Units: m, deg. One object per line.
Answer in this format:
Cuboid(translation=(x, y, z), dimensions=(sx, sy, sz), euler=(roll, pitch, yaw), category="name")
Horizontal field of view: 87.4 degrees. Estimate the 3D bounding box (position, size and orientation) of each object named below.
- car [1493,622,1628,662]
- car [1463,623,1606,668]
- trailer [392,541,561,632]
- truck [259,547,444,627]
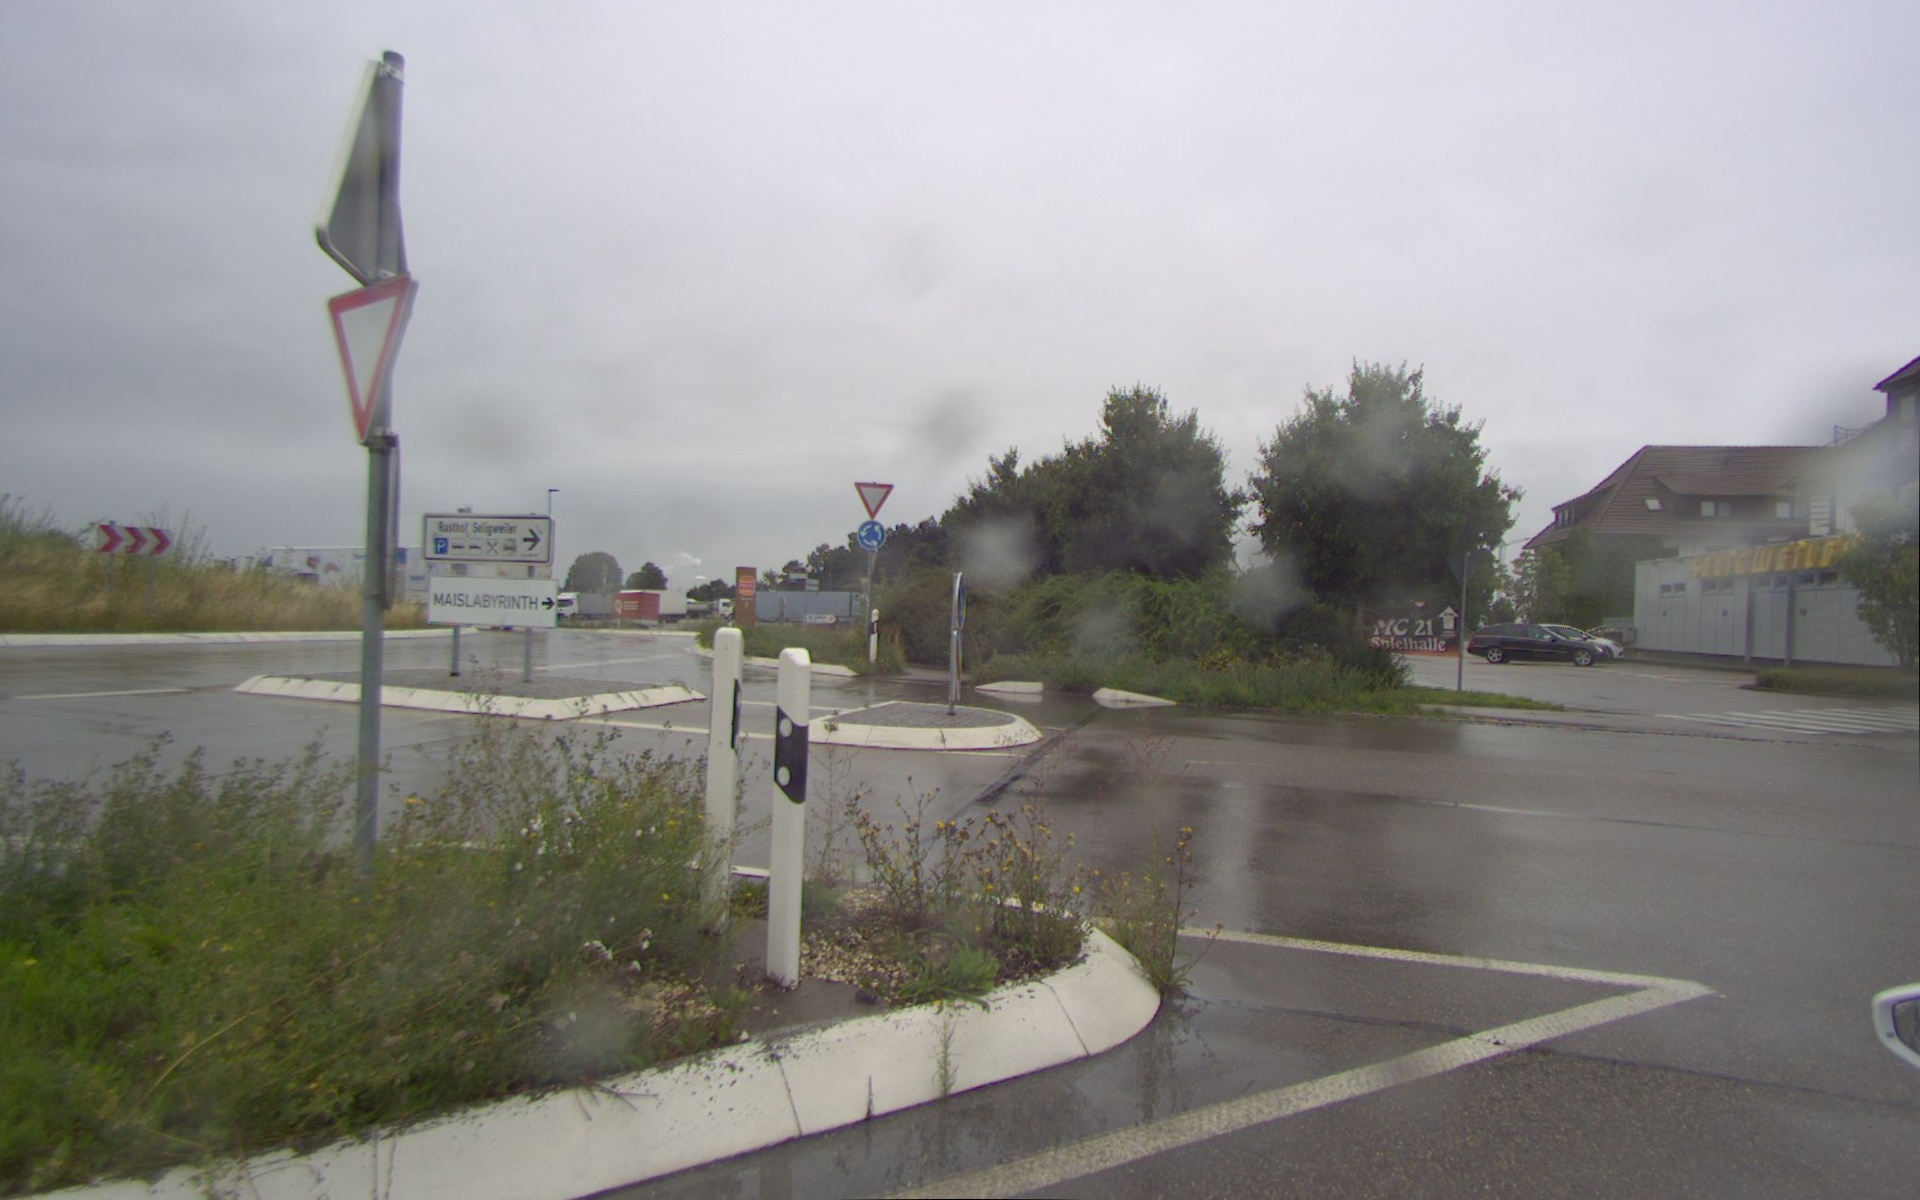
Cuboid(translation=(24.048, 1.658, 40.399), dimensions=(4.272, 1.444, 1.851), euler=(1, -1, 14), category="car")
Cuboid(translation=(20.704, 1.584, 36.283), dimensions=(4.292, 1.444, 1.699), euler=(1, -1, 38), category="car")
Cuboid(translation=(-21.507, -0.546, 44.432), dimensions=(8.718, 3.662, 3.089), euler=(0, -1, 37), category="trailer")
Cuboid(translation=(-29.298, -0.615, 48.413), dimensions=(8.011, 3.646, 3.117), euler=(1, -1, 18), category="truck")
